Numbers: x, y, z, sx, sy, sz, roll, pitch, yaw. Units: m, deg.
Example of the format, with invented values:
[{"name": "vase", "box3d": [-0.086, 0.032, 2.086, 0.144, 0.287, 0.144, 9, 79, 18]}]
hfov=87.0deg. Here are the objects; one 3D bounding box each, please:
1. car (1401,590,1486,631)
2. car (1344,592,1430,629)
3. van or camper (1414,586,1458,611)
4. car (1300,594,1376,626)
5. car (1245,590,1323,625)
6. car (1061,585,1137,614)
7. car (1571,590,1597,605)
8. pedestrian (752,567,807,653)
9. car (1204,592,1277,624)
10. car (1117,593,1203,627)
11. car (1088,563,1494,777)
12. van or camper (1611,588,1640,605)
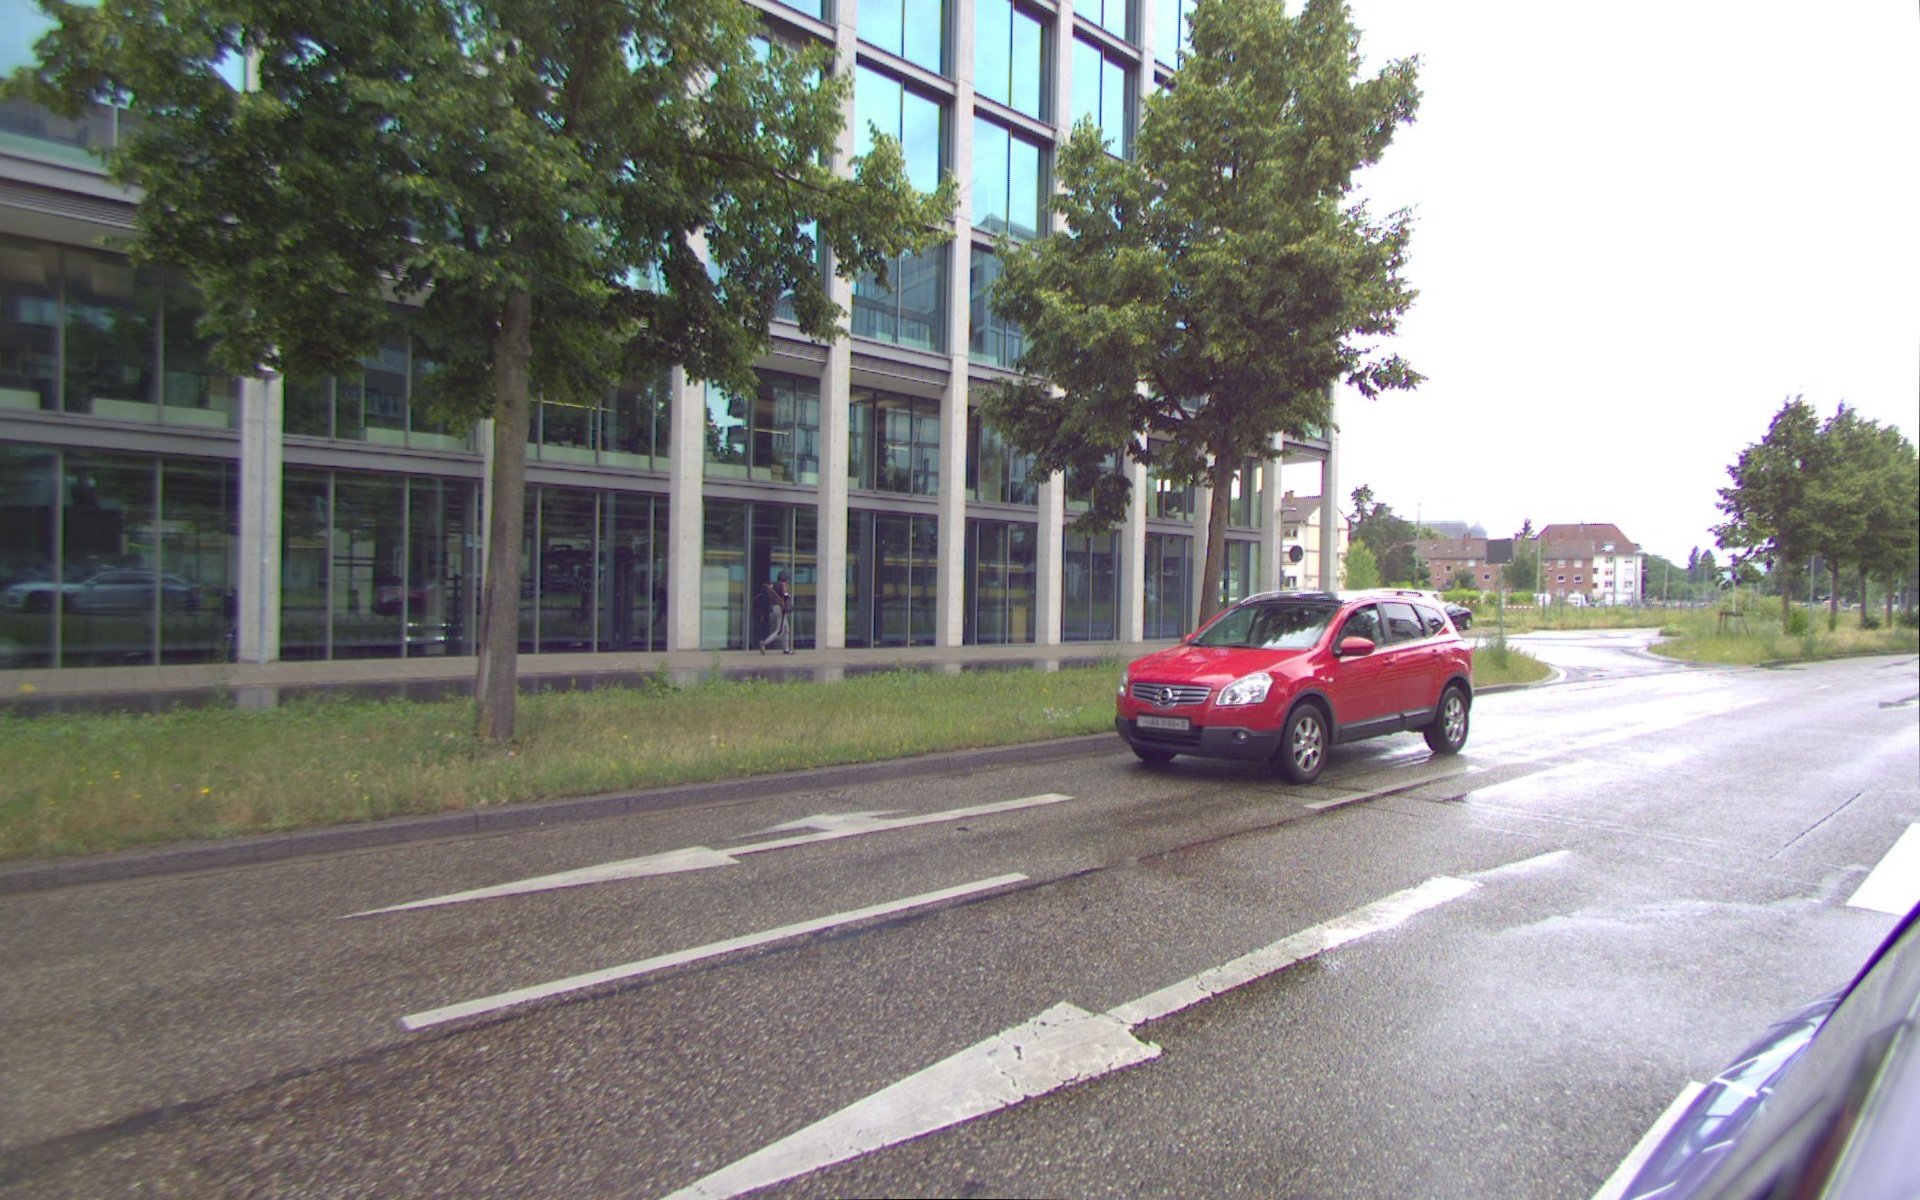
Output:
[{"name": "car", "box3d": [22.989, 0.479, 48.079, 3.925, 1.599, 1.861, -5, 3, -34]}, {"name": "car", "box3d": [21.265, 0.478, 50.313, 4.474, 1.472, 1.861, -5, 4, -35]}, {"name": "van or camper", "box3d": [53.631, -0.196, 114.005, 6.289, 2.723, 2.311, 0, 1, -43]}, {"name": "car", "box3d": [19.786, 0.485, 52.949, 3.926, 1.472, 1.861, -3, 2, -36]}, {"name": "car", "box3d": [17.778, 0.381, 55.482, 4.334, 1.621, 1.861, -4, 3, -36]}, {"name": "car", "box3d": [7.424, -0.043, 54.375, 1.825, 1.390, 4.000, 2, 0, -35]}, {"name": "car", "box3d": [94.935, -0.397, 153.911, 4.682, 2.248, 2.273, 1, 0, -45]}, {"name": "pedestrian", "box3d": [-3.790, 0.198, 21.214, 0.846, 1.736, 0.718, 1, 2, -41]}, {"name": "car", "box3d": [15.924, 0.433, 57.396, 4.152, 1.492, 1.791, -4, 3, -36]}, {"name": "car", "box3d": [9.964, 0.490, 50.592, 1.826, 1.507, 3.999, 3, -1, -37]}, {"name": "car", "box3d": [3.322, 0.556, 9.774, 4.170, 1.633, 1.798, 0, -1, -40]}, {"name": "van or camper", "box3d": [96.058, -0.458, 146.069, 6.045, 2.337, 2.204, 0, -1, -44]}]
